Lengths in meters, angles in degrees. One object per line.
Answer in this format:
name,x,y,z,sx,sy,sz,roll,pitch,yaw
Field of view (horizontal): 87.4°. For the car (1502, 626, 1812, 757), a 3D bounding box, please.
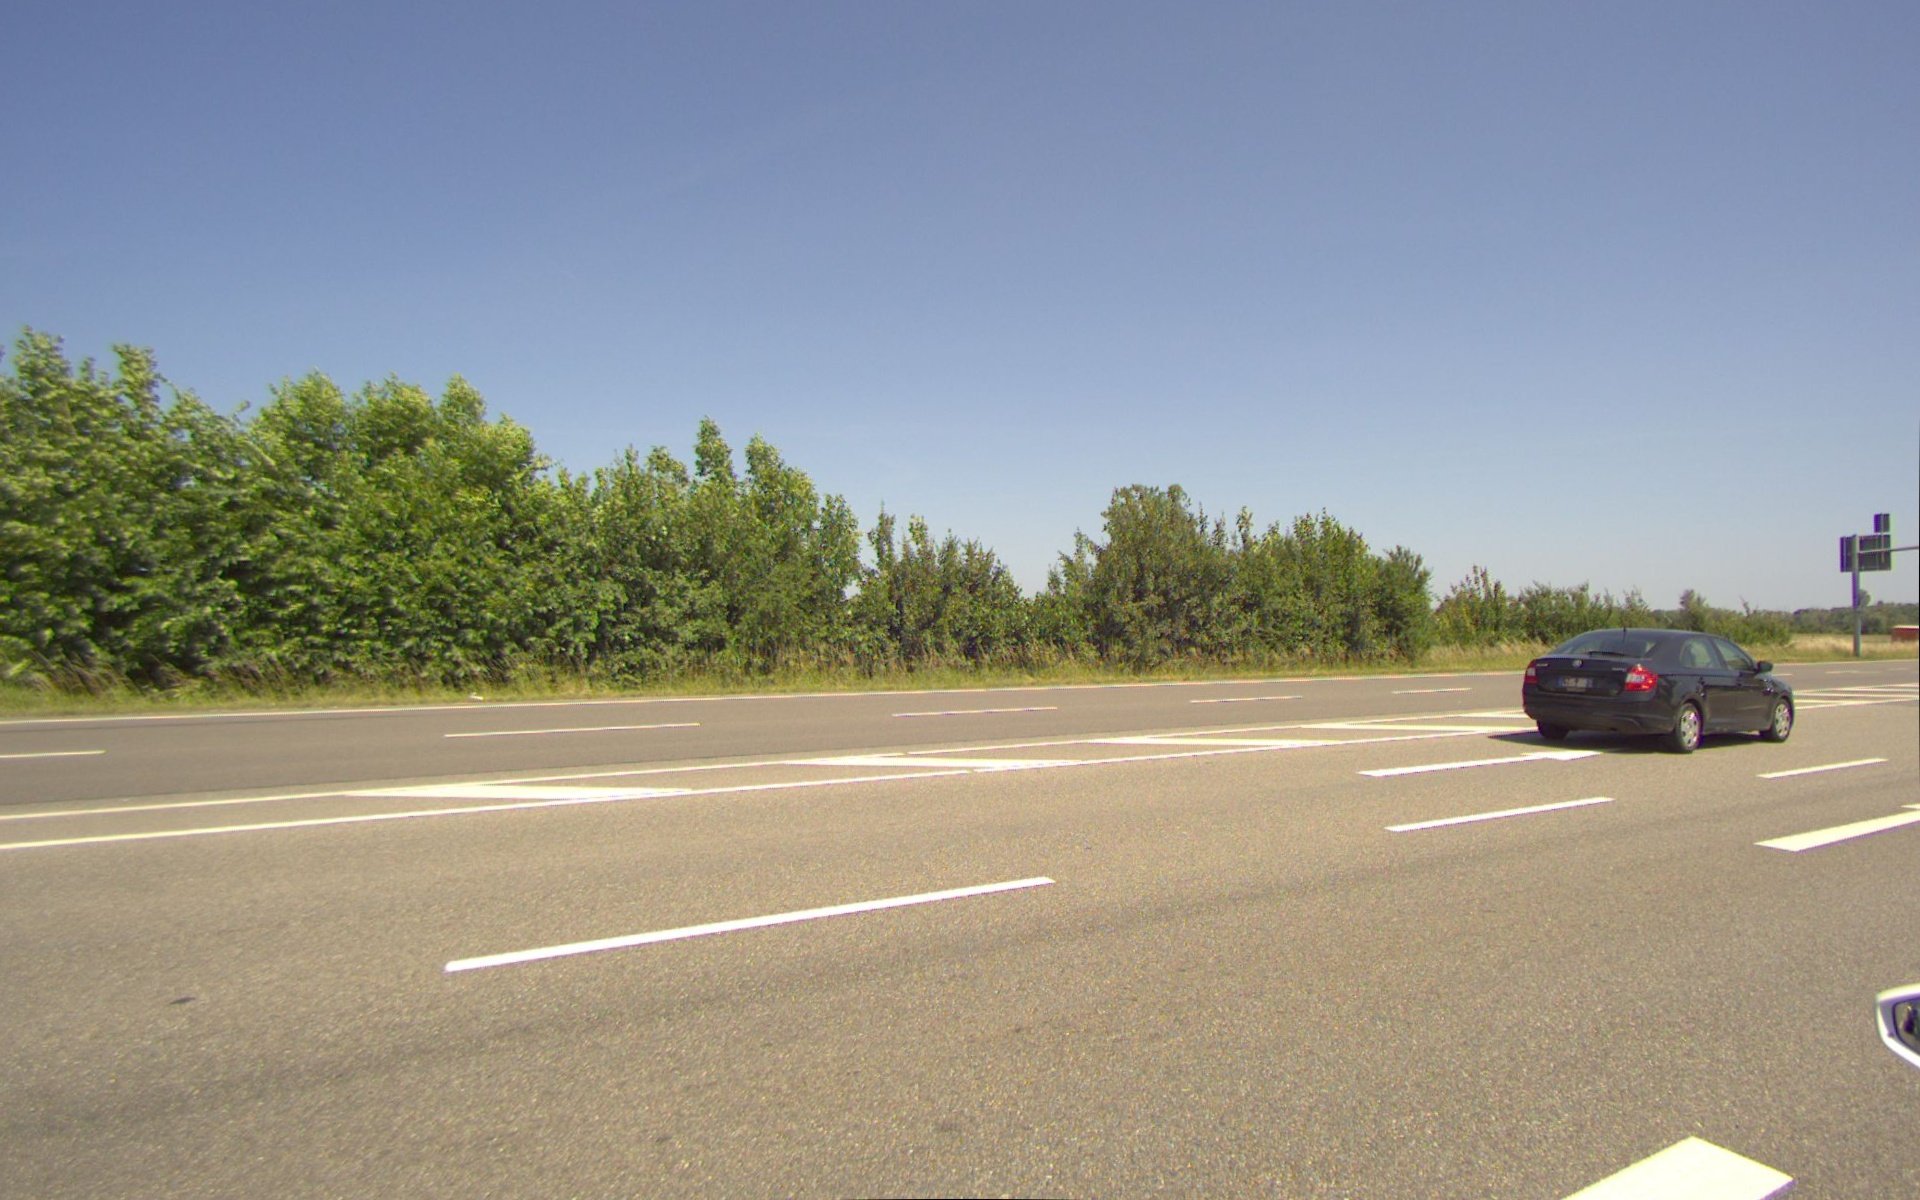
car,9.119,1.096,13.038,4.416,1.430,1.666,2,-1,-31
